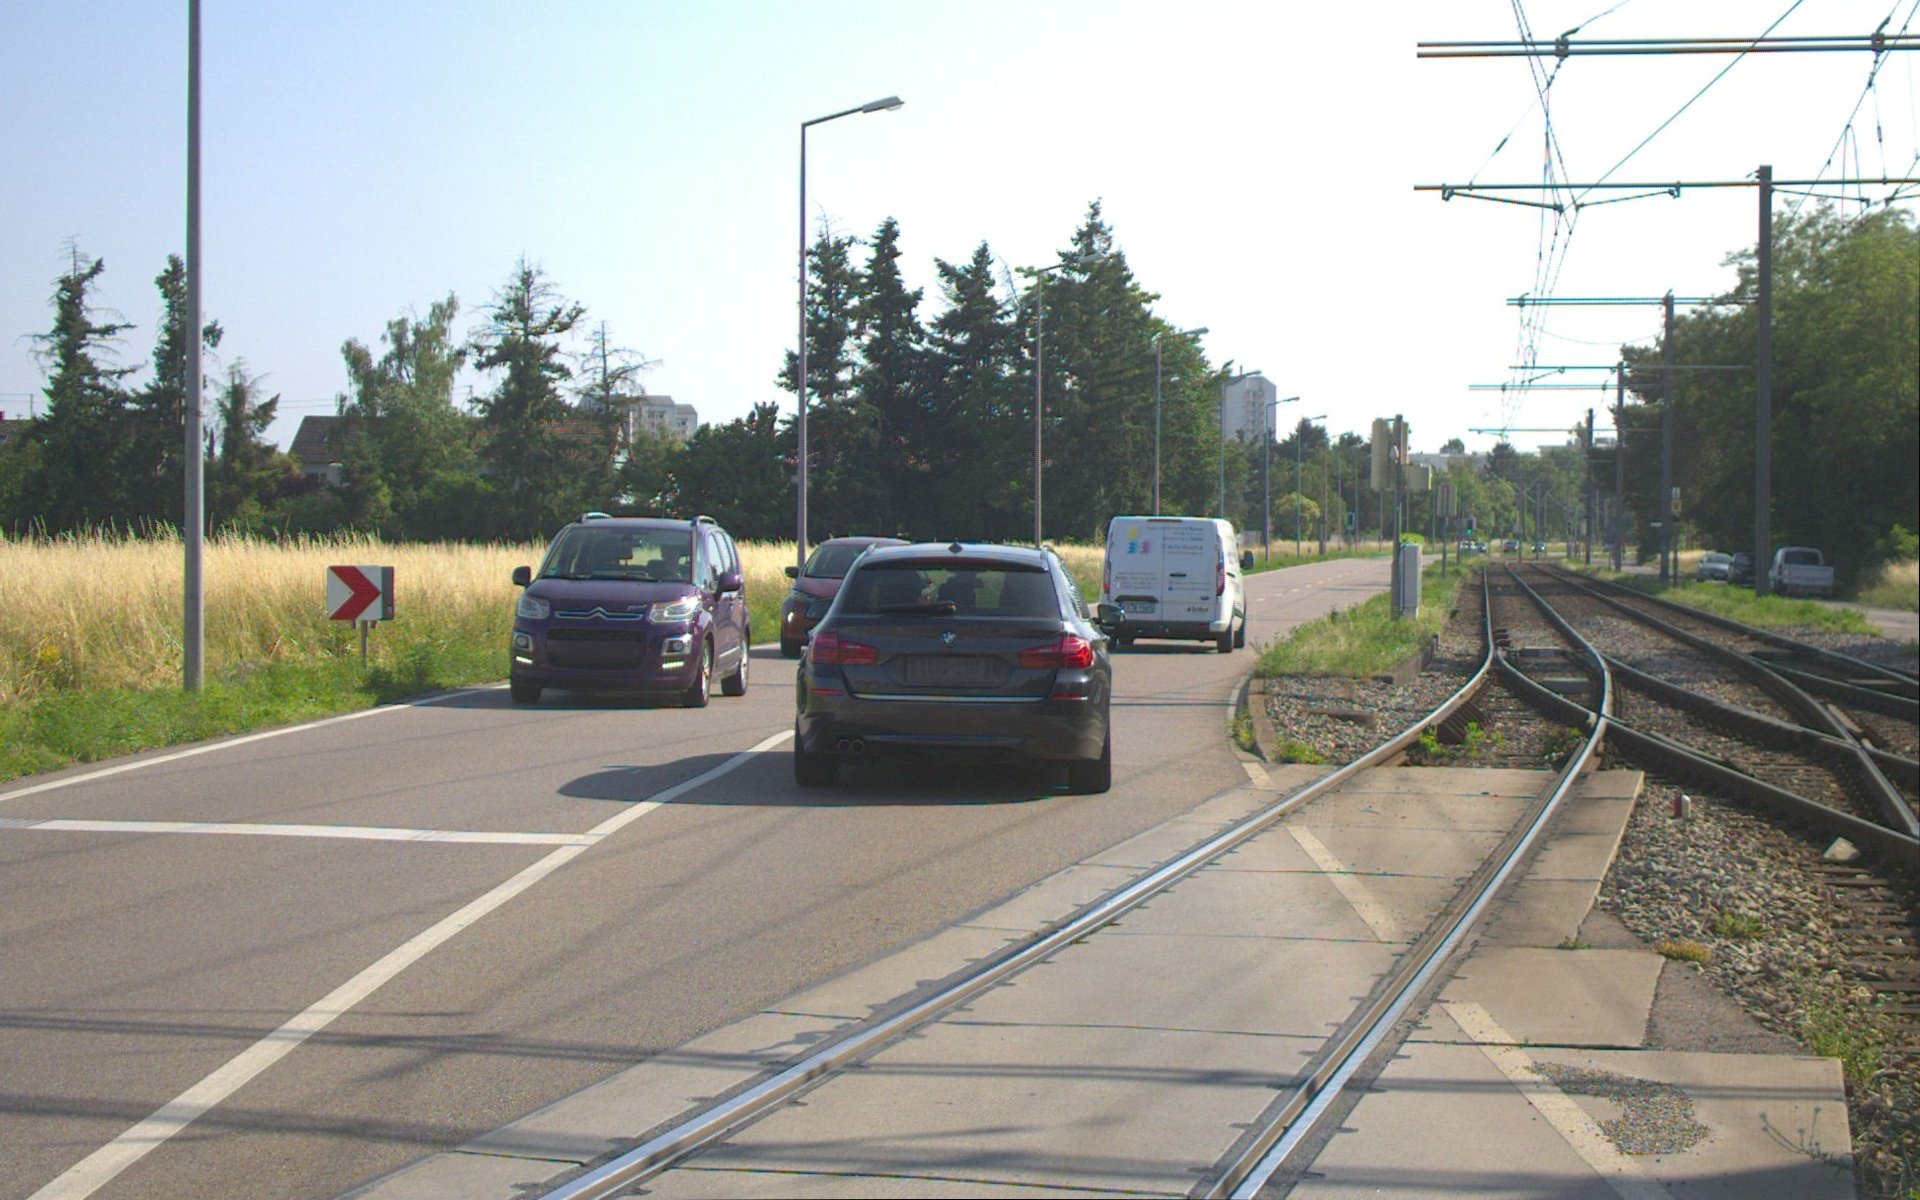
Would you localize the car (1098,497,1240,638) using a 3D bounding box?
[{"bbox_3d":[3.213,-0.544,52.097,1.858,1.981,5.107,2,2,6],"label":"car"}]

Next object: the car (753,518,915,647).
[{"bbox_3d":[-1.594,-0.263,44.694,1.713,1.544,3.928,1,2,3],"label":"car"}]

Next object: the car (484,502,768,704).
[{"bbox_3d":[-2.928,-0.042,31.086,1.706,1.659,4.589,1,2,5],"label":"car"}]

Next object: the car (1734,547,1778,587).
[{"bbox_3d":[35.394,-1.469,152.917,1.736,1.674,3.542,2,0,11],"label":"car"}]

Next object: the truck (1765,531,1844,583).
[{"bbox_3d":[30.728,-1.601,125.210,2.205,1.812,5.928,1,1,8],"label":"truck"}]

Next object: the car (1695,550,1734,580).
[{"bbox_3d":[37.468,-1.746,170.795,1.622,1.394,3.488,2,0,9],"label":"car"}]

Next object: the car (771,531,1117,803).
[{"bbox_3d":[0.015,0.322,21.482,1.869,1.447,4.743,2,1,3],"label":"car"}]
